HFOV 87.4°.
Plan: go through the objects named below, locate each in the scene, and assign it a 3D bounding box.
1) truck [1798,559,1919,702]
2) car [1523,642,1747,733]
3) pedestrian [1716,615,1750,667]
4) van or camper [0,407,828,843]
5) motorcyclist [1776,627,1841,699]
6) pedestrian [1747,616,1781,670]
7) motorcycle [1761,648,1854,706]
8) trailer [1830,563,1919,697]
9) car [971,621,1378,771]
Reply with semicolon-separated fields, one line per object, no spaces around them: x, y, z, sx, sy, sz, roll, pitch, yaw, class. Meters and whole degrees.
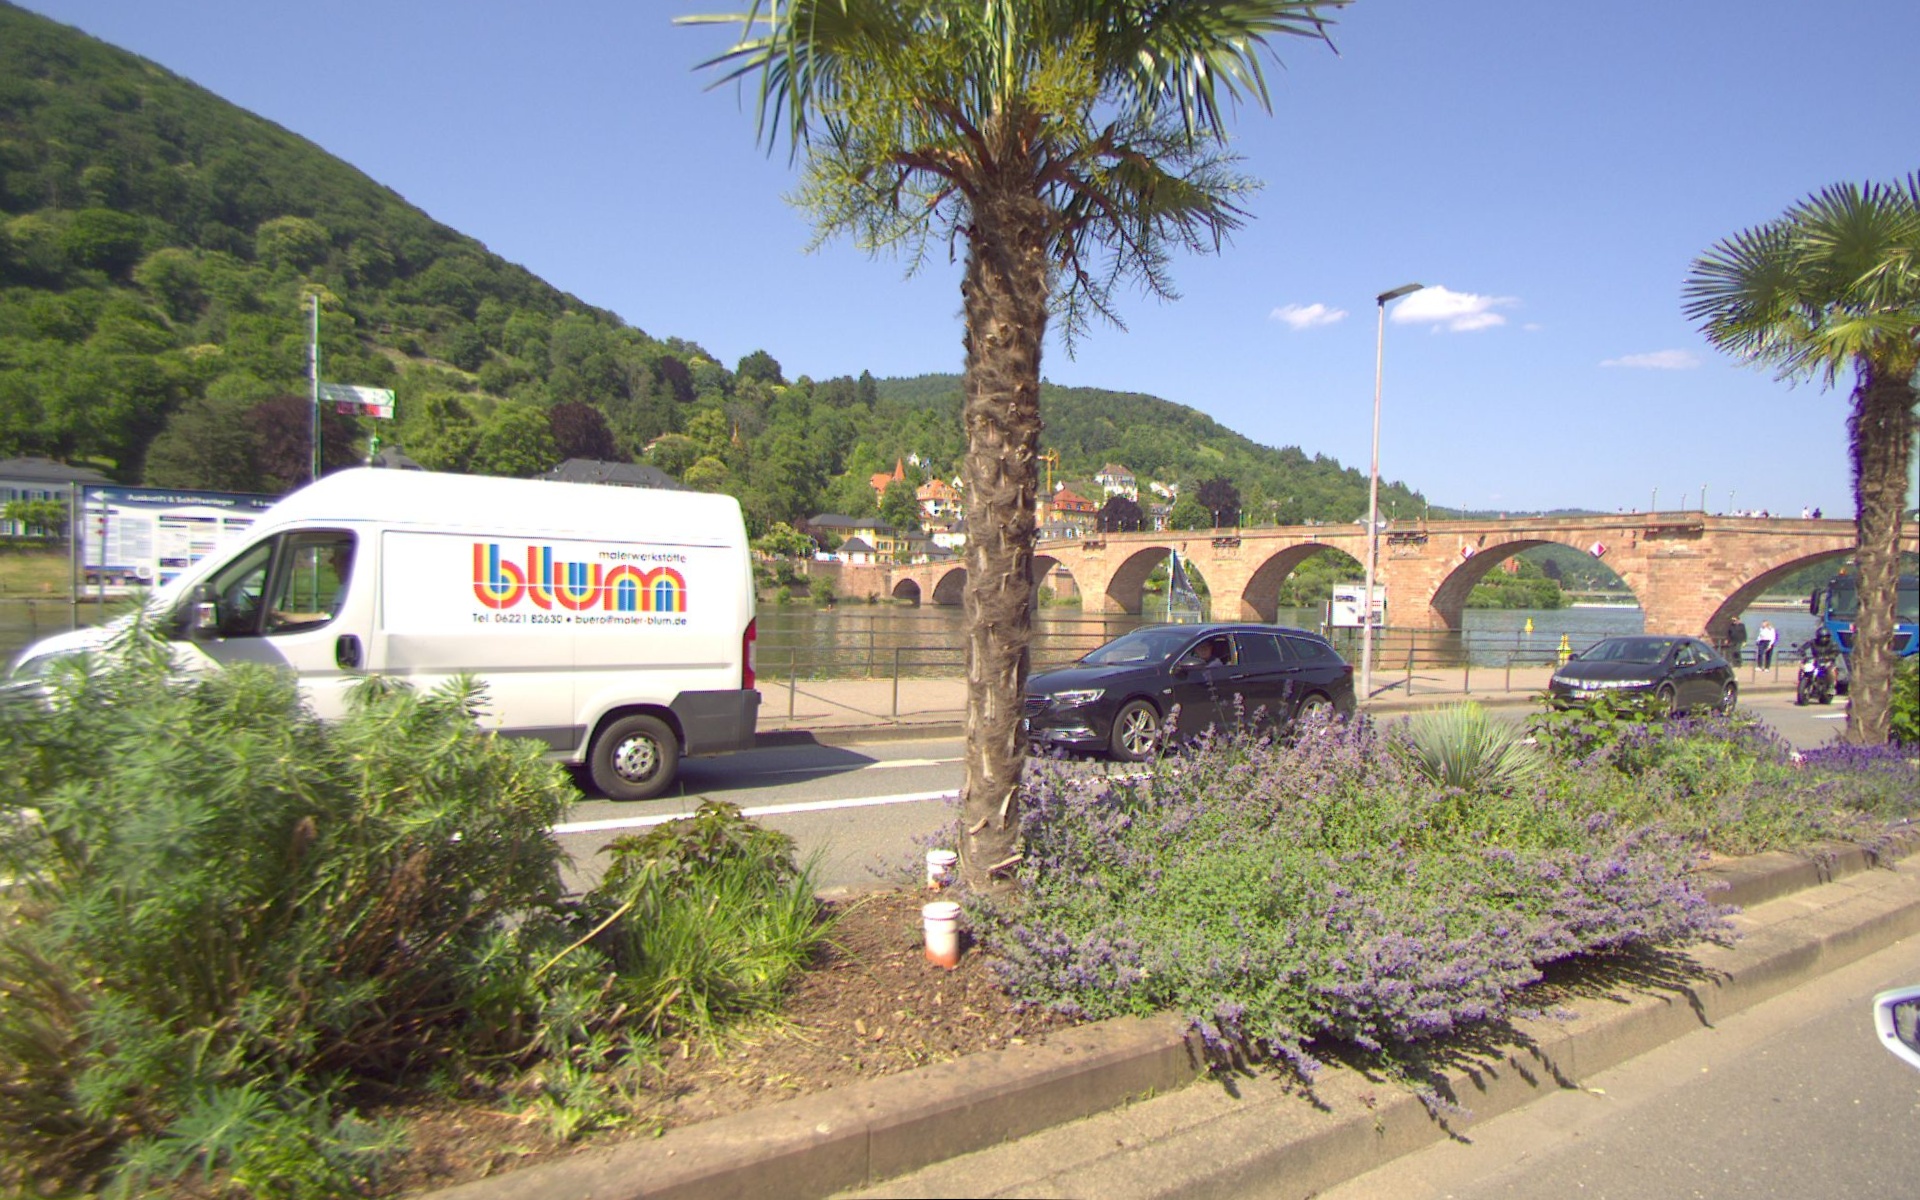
24.548;0.747;26.317;4.399;3.449;2.644;1;1;-31;truck
12.279;1.532;18.220;4.174;1.431;1.941;3;-2;-33;car
27.318;1.434;35.511;0.690;1.804;0.755;0;2;-39;pedestrian
-3.949;0.212;7.936;5.437;2.482;1.981;2;-1;-34;van or camper
18.600;1.361;22.019;0.999;1.490;0.733;1;1;-28;motorcyclist
27.852;1.483;34.790;0.690;1.804;0.755;0;2;-39;pedestrian
18.576;1.669;22.003;2.426;1.147;0.754;1;1;-30;motorcycle
28.174;0.807;28.544;8.726;3.449;2.644;1;1;-31;trailer
2.660;0.988;11.954;4.874;1.475;1.809;1;-1;-32;car
